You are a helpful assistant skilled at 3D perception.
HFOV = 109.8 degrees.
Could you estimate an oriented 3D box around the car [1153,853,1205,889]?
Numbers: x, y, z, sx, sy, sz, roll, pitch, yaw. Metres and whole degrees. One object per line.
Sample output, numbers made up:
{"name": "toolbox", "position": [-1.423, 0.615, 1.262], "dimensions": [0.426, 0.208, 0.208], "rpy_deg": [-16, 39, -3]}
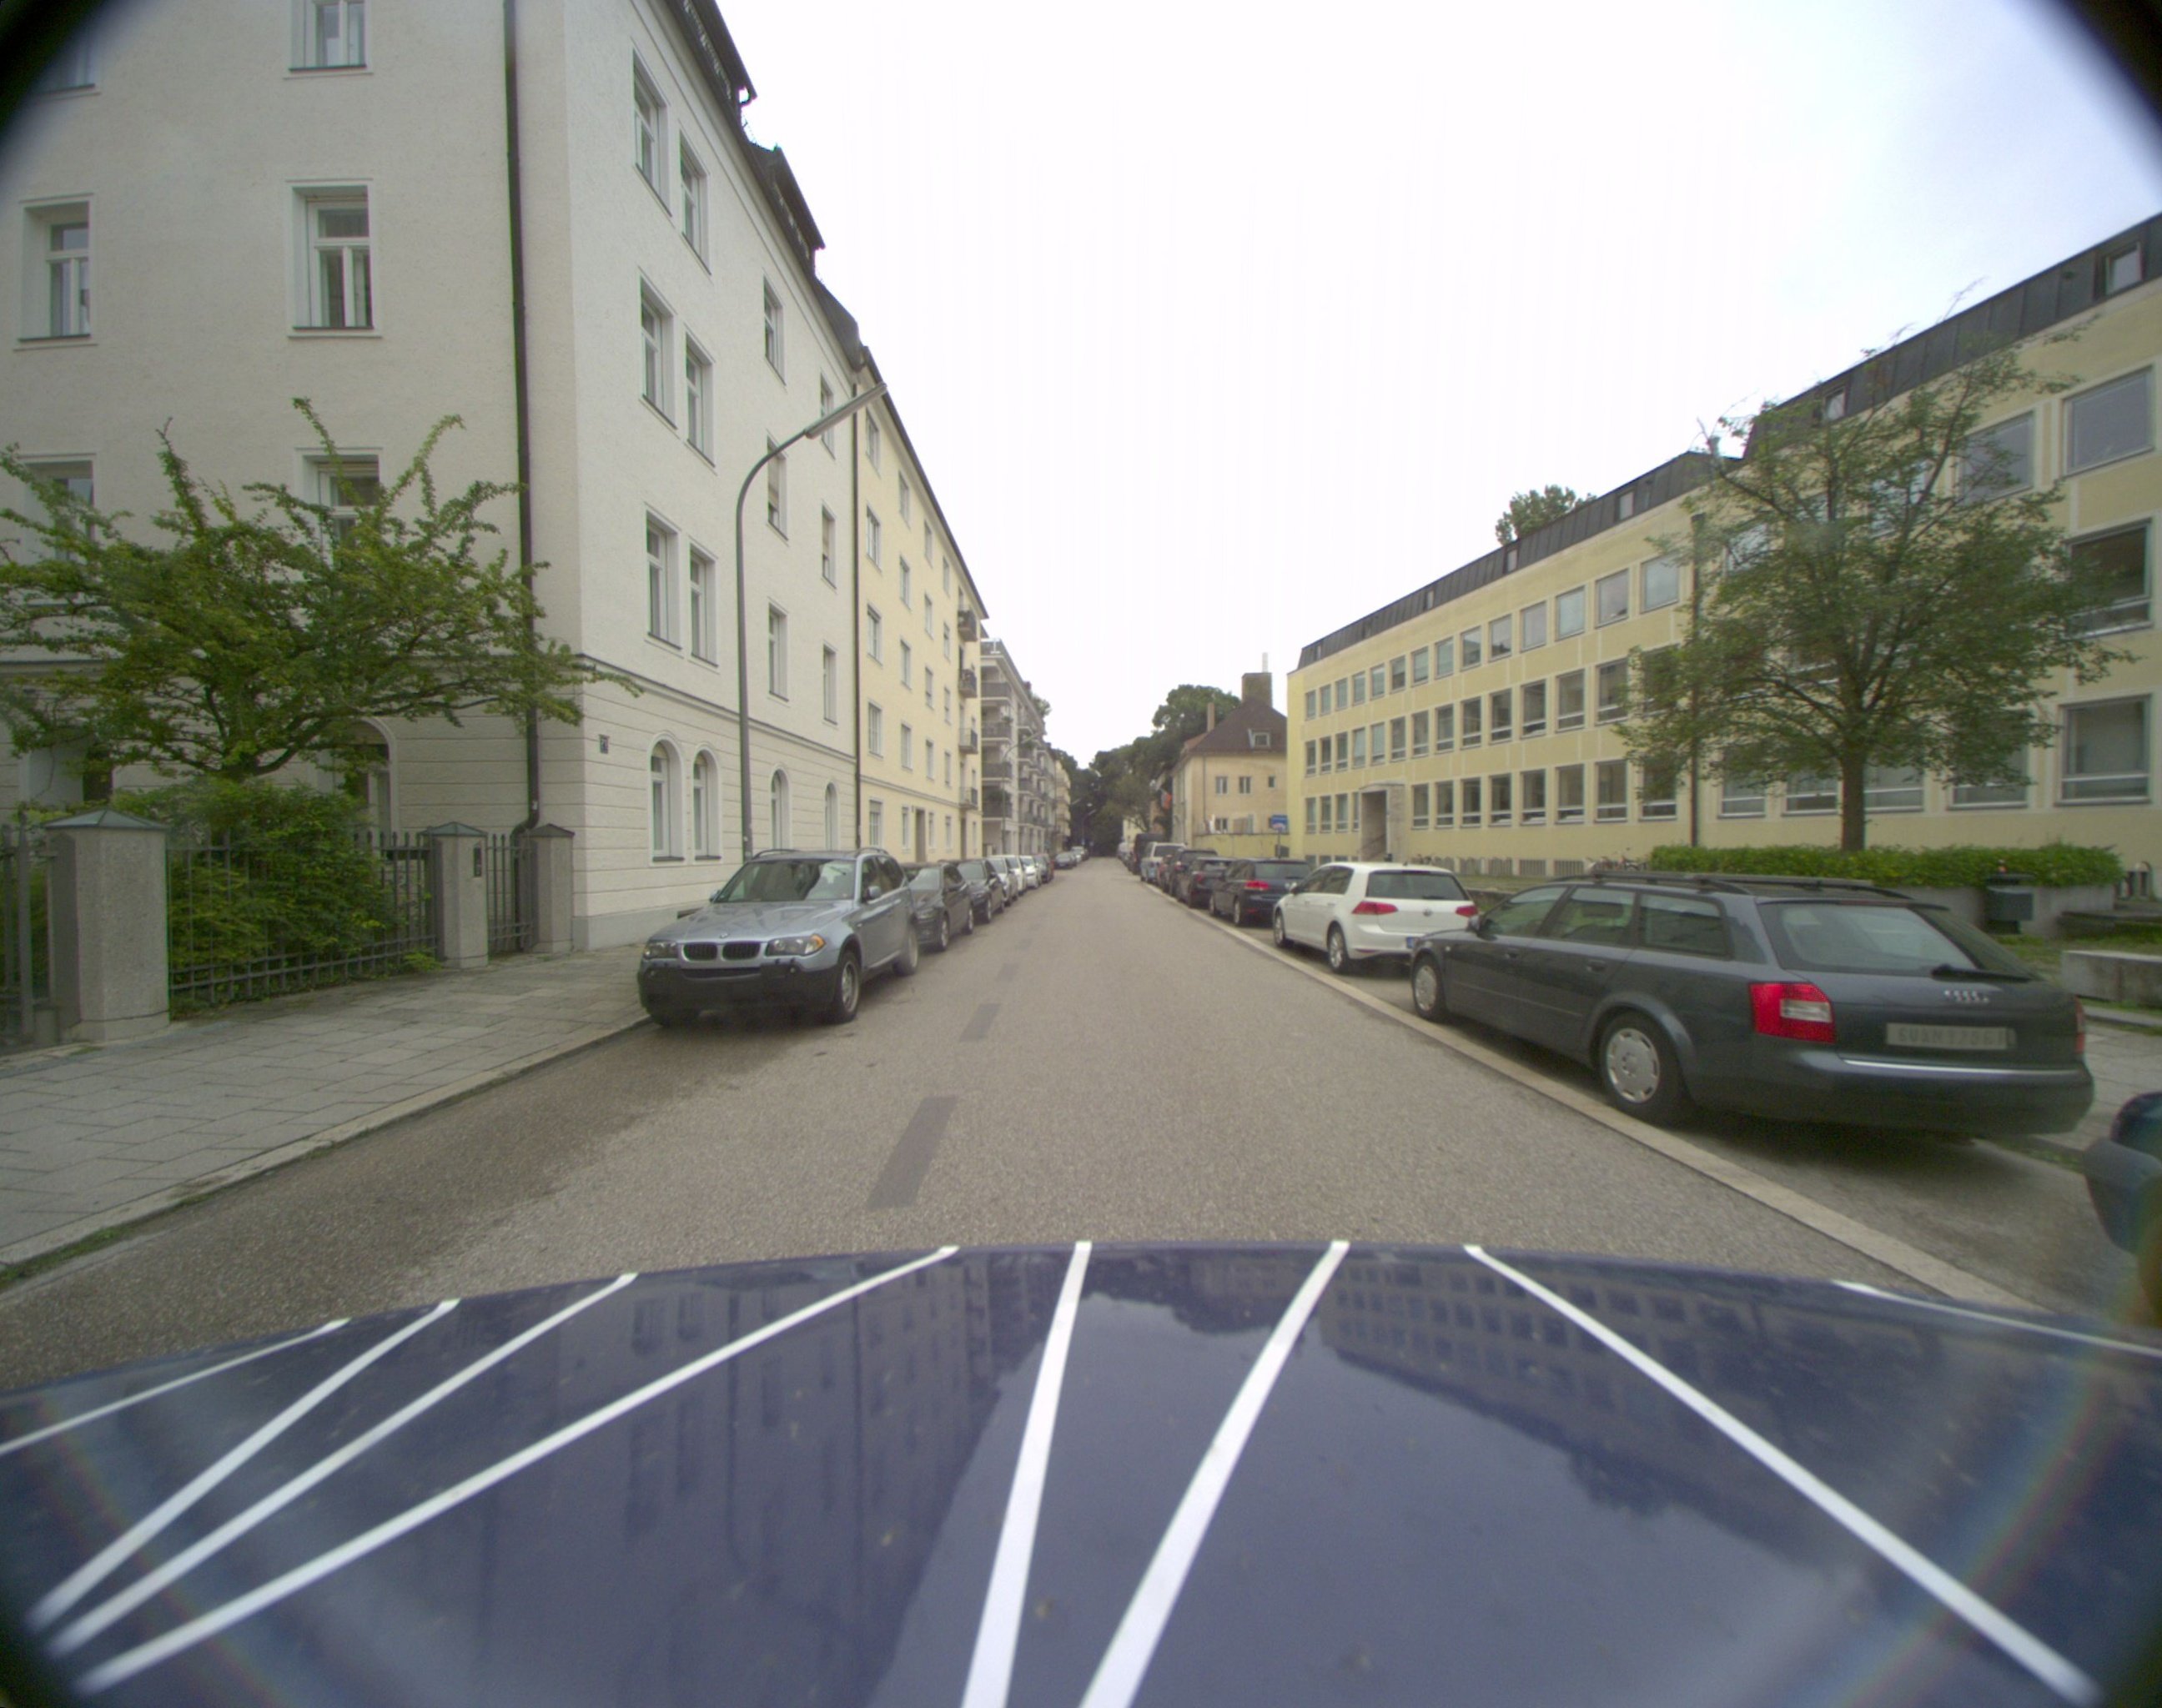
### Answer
{"name": "car", "position": [4.154, 0.692, 32.693], "dimensions": [1.748, 1.379, 3.918], "rpy_deg": [-1, 1, 1]}

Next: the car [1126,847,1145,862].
{"name": "car", "position": [5.578, 0.059, 77.594], "dimensions": [1.767, 1.505, 3.842], "rpy_deg": [0, 1, 2]}

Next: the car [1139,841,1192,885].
{"name": "car", "position": [4.065, 0.377, 37.434], "dimensions": [1.933, 1.968, 5.021], "rpy_deg": [0, 1, -1]}

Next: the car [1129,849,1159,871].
{"name": "car", "position": [4.576, 0.412, 55.622], "dimensions": [1.706, 1.485, 3.488], "rpy_deg": [-1, 1, -3]}

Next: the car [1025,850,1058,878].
{"name": "car", "position": [-2.293, 0.568, 44.427], "dimensions": [1.683, 1.489, 3.823], "rpy_deg": [-1, 1, 0]}

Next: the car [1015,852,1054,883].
{"name": "car", "position": [-2.327, 0.660, 39.023], "dimensions": [1.683, 1.402, 4.421], "rpy_deg": [-1, 1, 0]}

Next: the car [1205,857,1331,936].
{"name": "car", "position": [3.976, 0.843, 16.783], "dimensions": [1.661, 1.445, 3.973], "rpy_deg": [1, 1, -2]}

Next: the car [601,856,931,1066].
{"name": "car", "position": [-3.003, 0.879, 8.411], "dimensions": [1.726, 1.625, 4.457], "rpy_deg": [-1, 1, 1]}

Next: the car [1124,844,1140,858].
{"name": "car", "position": [6.337, -0.421, 94.510], "dimensions": [1.817, 1.724, 3.649], "rpy_deg": [-1, 1, 2]}

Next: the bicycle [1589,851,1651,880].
{"name": "bicycle", "position": [19.466, 0.399, 27.466], "dimensions": [1.953, 1.008, 0.625], "rpy_deg": [-1, 1, -9]}

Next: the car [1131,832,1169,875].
{"name": "car", "position": [4.504, -0.072, 50.394], "dimensions": [2.302, 2.630, 5.653], "rpy_deg": [1, 1, 3]}

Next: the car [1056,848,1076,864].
{"name": "car", "position": [-1.382, 0.198, 72.615], "dimensions": [1.766, 1.449, 3.417], "rpy_deg": [-1, 1, 1]}

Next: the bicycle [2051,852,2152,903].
{"name": "bicycle", "position": [21.680, 0.480, 16.139], "dimensions": [1.954, 1.008, 0.624], "rpy_deg": [-1, 1, -16]}

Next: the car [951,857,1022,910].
{"name": "car", "position": [-2.821, 0.843, 23.532], "dimensions": [1.683, 1.419, 4.166], "rpy_deg": [-1, 1, 0]}

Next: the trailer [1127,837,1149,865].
{"name": "trailer", "position": [5.470, -0.331, 72.130], "dimensions": [1.817, 2.521, 3.390], "rpy_deg": [3, 1, 6]}

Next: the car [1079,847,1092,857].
{"name": "car", "position": [0.752, -0.302, 120.150], "dimensions": [1.871, 1.455, 4.268], "rpy_deg": [-1, 1, 3]}

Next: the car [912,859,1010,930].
{"name": "car", "position": [-2.787, 0.890, 18.546], "dimensions": [1.683, 1.419, 4.390], "rpy_deg": [-1, 1, 0]}

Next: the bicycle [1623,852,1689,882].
{"name": "bicycle", "position": [19.713, 0.438, 26.052], "dimensions": [1.953, 1.008, 0.625], "rpy_deg": [-1, 1, -9]}

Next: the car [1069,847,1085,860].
{"name": "car", "position": [-0.430, -0.051, 89.161], "dimensions": [1.766, 1.449, 3.747], "rpy_deg": [-1, 1, 1]}

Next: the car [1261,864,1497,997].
{"name": "car", "position": [3.976, 0.924, 10.943], "dimensions": [1.661, 1.445, 4.072], "rpy_deg": [1, 1, -2]}

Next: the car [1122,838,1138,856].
{"name": "car", "position": [6.792, -0.960, 104.868], "dimensions": [2.104, 2.418, 4.549], "rpy_deg": [-1, 1, 4]}

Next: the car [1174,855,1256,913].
{"name": "car", "position": [3.791, 0.792, 22.027], "dimensions": [1.684, 1.445, 3.869], "rpy_deg": [1, 1, 0]}

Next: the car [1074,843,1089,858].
{"name": "car", "position": [0.078, -0.562, 104.372], "dimensions": [1.871, 2.002, 4.268], "rpy_deg": [-1, 1, 3]}

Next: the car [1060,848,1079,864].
{"name": "car", "position": [-1.174, 0.181, 77.276], "dimensions": [1.766, 1.449, 3.747], "rpy_deg": [-1, 1, 1]}

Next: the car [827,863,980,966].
{"name": "car", "position": [-2.945, 0.935, 13.492], "dimensions": [1.683, 1.419, 4.086], "rpy_deg": [-1, 1, 1]}

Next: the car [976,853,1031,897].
{"name": "car", "position": [-2.871, 0.743, 28.976], "dimensions": [1.683, 1.473, 4.166], "rpy_deg": [-1, 1, 0]}

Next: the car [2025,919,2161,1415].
{"name": "car", "position": [4.097, 0.973, 0.938], "dimensions": [1.661, 1.445, 3.311], "rpy_deg": [1, 1, -2]}

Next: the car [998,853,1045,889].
{"name": "car", "position": [-2.561, 0.703, 33.697], "dimensions": [1.683, 1.402, 4.442], "rpy_deg": [-1, 1, 0]}

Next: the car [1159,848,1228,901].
{"name": "car", "position": [3.929, 0.661, 27.251], "dimensions": [1.748, 1.656, 4.448], "rpy_deg": [3, 1, 0]}

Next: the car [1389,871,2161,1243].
{"name": "car", "position": [4.006, 0.935, 5.481], "dimensions": [1.759, 1.445, 4.395], "rpy_deg": [1, 1, 0]}

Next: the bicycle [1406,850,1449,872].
{"name": "bicycle", "position": [16.884, 0.332, 37.016], "dimensions": [1.954, 1.008, 0.580], "rpy_deg": [-2, 1, -16]}

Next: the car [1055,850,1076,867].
{"name": "car", "position": [-1.429, 0.396, 67.897], "dimensions": [1.784, 1.386, 4.245], "rpy_deg": [-1, 1, -2]}
